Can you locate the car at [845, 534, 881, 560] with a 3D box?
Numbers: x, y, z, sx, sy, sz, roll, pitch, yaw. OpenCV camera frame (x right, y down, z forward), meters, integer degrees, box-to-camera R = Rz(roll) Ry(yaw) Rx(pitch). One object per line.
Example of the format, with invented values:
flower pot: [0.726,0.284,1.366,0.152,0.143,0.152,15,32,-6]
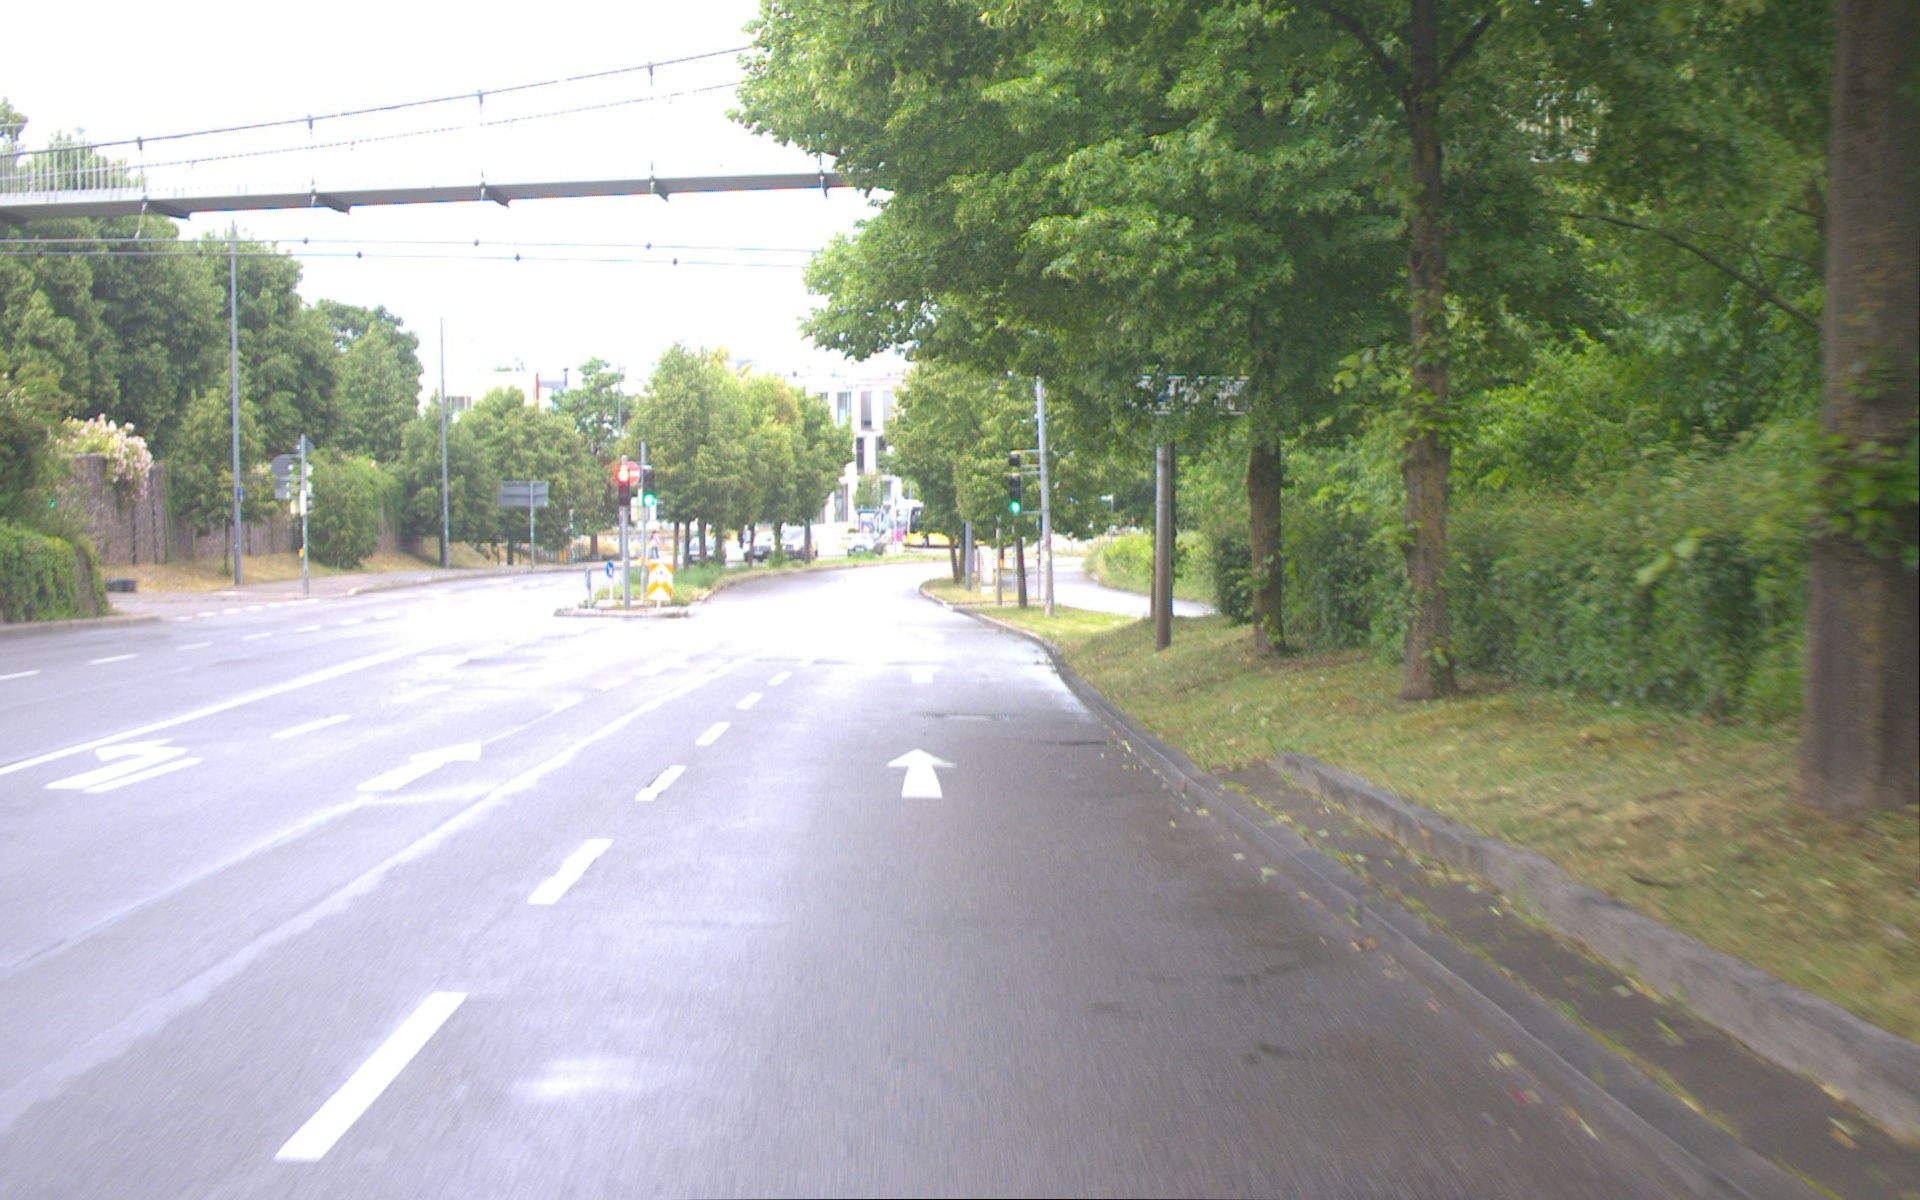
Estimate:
car: [-5.925,-3.244,209.519,1.687,1.534,2.915,1,2,8]

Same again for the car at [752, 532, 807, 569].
car: [-9.478,-2.610,180.724,2.014,1.912,5.094,1,1,7]

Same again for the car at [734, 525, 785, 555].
car: [-10.943,-3.260,187.654,1.882,1.589,4.765,2,1,7]
